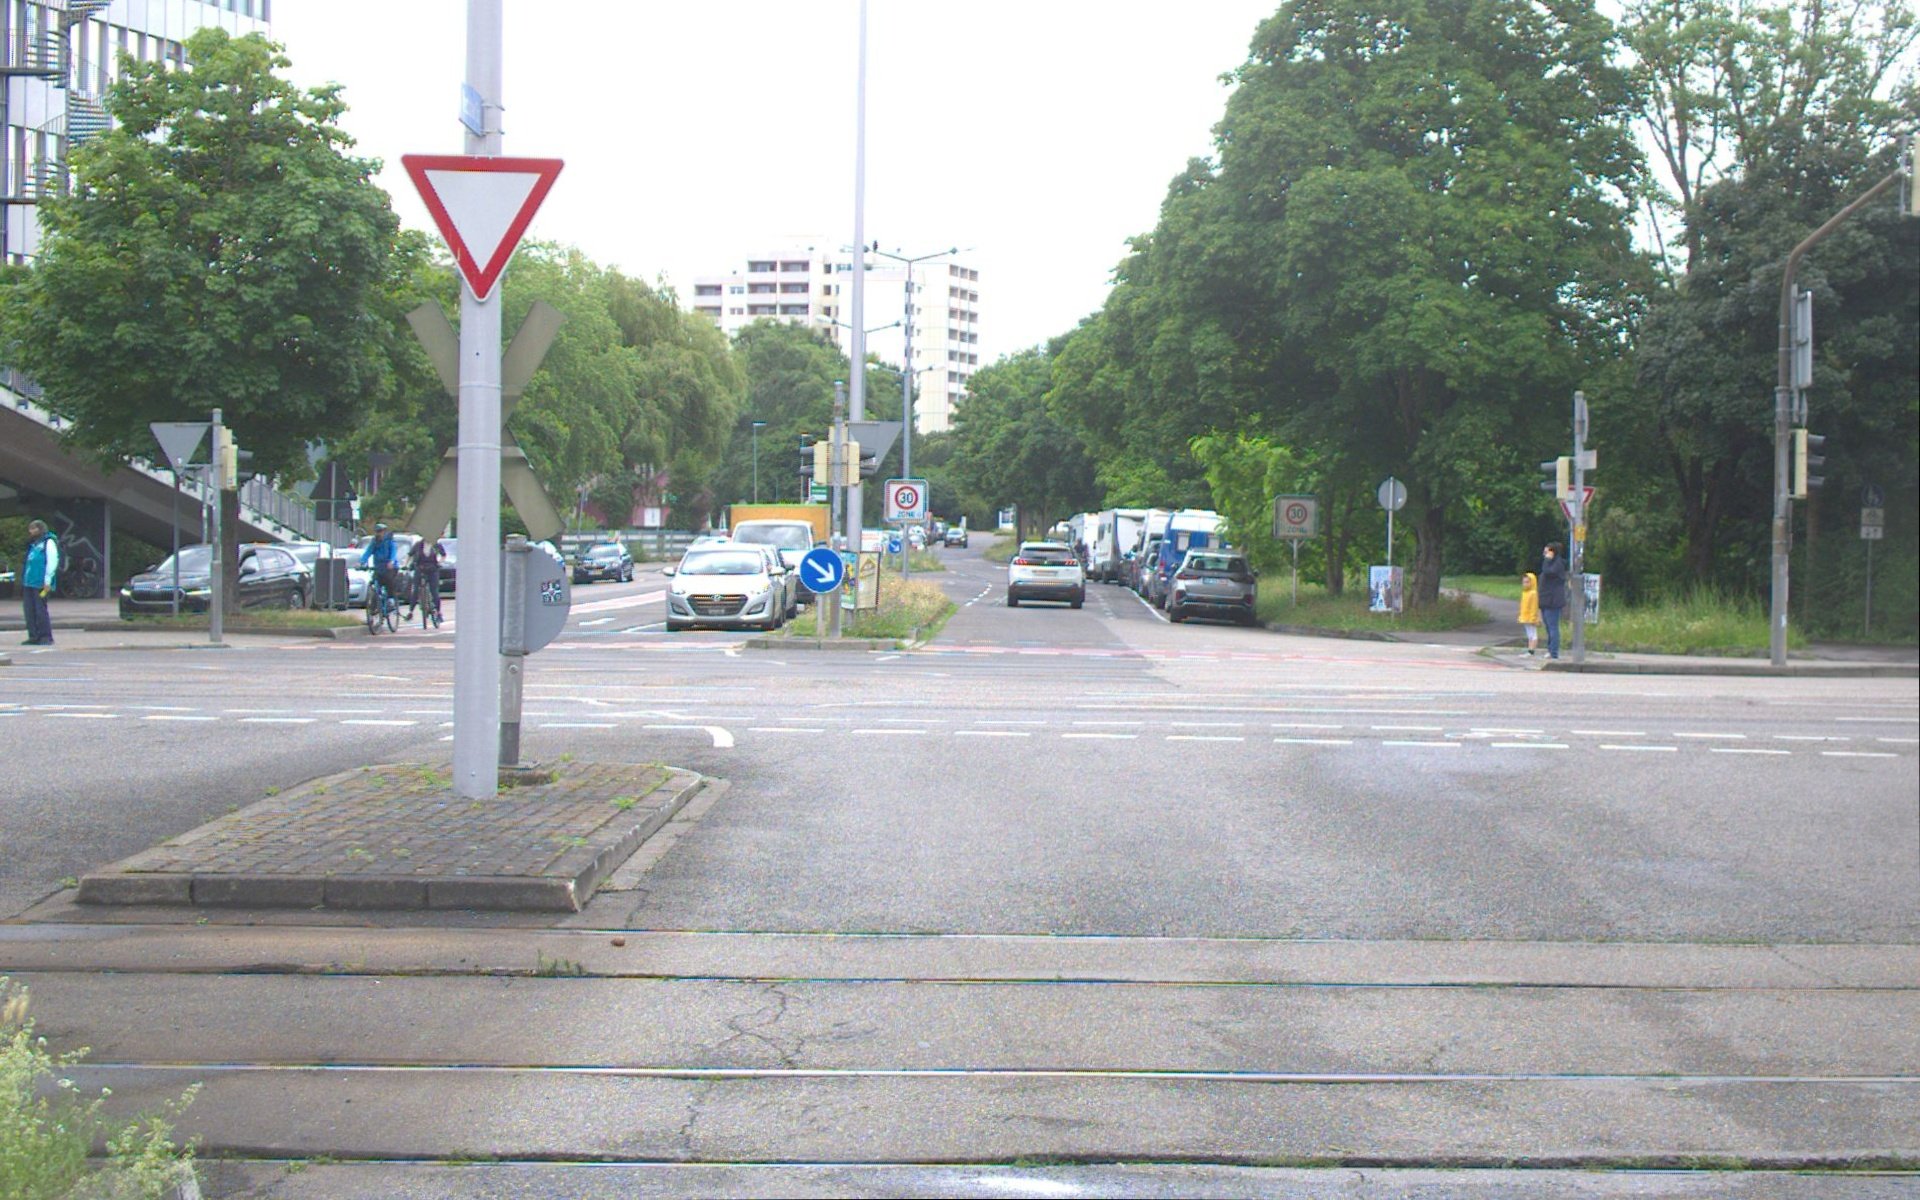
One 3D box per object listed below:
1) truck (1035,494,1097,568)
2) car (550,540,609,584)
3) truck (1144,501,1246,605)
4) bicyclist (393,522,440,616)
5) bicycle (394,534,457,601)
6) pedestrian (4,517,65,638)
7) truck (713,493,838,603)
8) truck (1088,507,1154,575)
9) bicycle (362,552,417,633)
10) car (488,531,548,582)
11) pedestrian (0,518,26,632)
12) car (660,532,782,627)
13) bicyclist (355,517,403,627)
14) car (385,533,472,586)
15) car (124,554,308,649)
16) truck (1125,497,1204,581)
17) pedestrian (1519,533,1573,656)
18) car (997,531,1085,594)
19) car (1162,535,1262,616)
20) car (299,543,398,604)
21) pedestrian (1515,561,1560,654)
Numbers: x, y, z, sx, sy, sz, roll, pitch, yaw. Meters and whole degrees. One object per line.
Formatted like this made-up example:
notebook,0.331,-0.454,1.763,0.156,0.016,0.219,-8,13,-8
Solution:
truck,4.388,-2.855,142.916,1.993,2.998,5.773,1,1,-4
car,-13.912,-1.413,125.888,1.671,1.546,4.000,1,1,0
truck,6.153,-1.238,90.714,2.174,2.647,6.247,0,1,-1
bicyclist,-9.237,-0.527,58.442,0.679,1.589,0.695,1,0,-1
bicycle,-9.105,-0.567,58.634,0.726,1.097,2.264,1,1,-1
pedestrian,-12.337,-0.302,45.844,0.687,1.599,0.488,1,1,-5
truck,-3.821,-1.107,72.196,2.155,2.191,5.840,1,1,1
truck,6.165,-2.247,132.129,1.993,2.564,5.379,1,1,-2
bicycle,-9.239,-0.138,55.744,0.543,1.263,2.111,1,1,-1
car,-13.792,-1.372,107.378,1.444,1.546,3.664,1,1,-1
pedestrian,-12.952,-0.342,45.853,0.917,1.505,0.404,1,1,-11
car,-3.993,-0.378,57.951,1.789,1.514,4.326,1,1,-1
bicyclist,-9.372,-0.456,55.483,0.644,1.762,0.647,1,1,-1
car,-14.484,-1.119,93.870,1.763,1.390,4.000,1,1,-1
car,-13.020,-0.001,60.355,1.672,1.546,3.998,1,1,11
truck,7.103,-2.120,120.056,1.993,2.828,5.732,1,1,-4
pedestrian,8.378,-0.081,49.192,0.657,1.744,0.459,1,1,-1
car,2.003,-0.961,85.848,2.020,1.500,4.000,1,1,-1
car,5.398,-0.543,73.923,1.784,1.656,4.000,1,1,-1
car,-14.750,-0.657,83.135,1.671,1.382,3.895,1,1,0
pedestrian,8.369,0.103,49.829,0.527,1.337,0.525,1,1,-1
